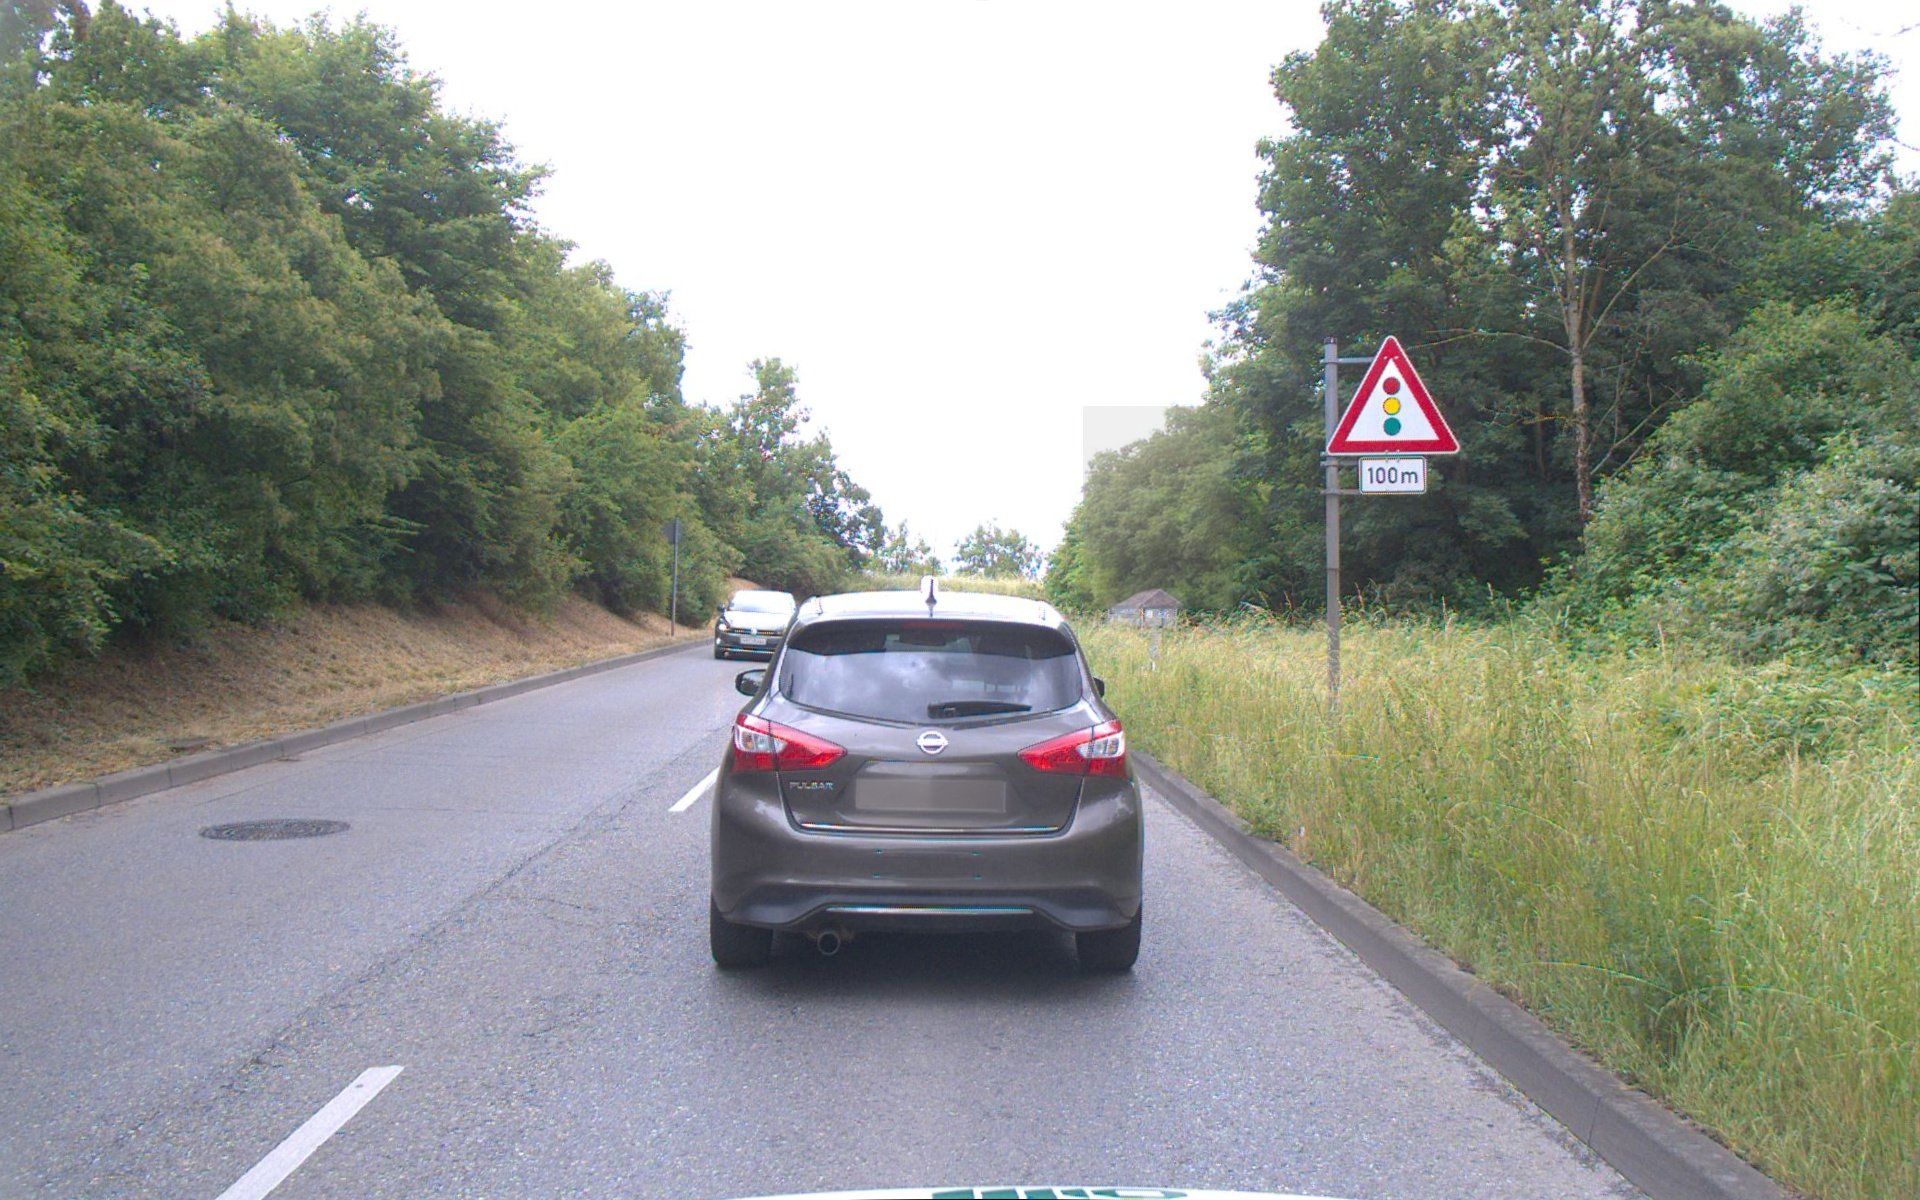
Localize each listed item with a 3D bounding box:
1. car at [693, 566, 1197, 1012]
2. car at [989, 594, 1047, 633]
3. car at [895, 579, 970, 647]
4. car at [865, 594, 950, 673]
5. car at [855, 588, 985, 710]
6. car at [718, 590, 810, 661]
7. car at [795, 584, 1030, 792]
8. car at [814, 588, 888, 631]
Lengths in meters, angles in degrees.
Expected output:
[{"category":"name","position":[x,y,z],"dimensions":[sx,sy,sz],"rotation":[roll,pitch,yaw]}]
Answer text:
[{"category":"car","position":[-0.118,0.674,7.670],"dimensions":[1.793,1.583,3.497],"rotation":[1,0,-2]},{"category":"car","position":[2.420,0.546,68.045],"dimensions":[1.699,1.553,3.546],"rotation":[0,0,14]},{"category":"car","position":[-0.782,0.369,49.541],"dimensions":[1.699,1.968,3.546],"rotation":[0,0,9]},{"category":"car","position":[-1.064,0.659,34.746],"dimensions":[1.700,1.583,3.543],"rotation":[0,0,-1]},{"category":"car","position":[-0.534,0.636,23.337],"dimensions":[1.700,1.583,3.543],"rotation":[0,0,-1]},{"category":"car","position":[-4.154,0.510,35.494],"dimensions":[1.609,1.425,3.820],"rotation":[1,0,-1]},{"category":"car","position":[-0.377,0.664,14.456],"dimensions":[1.793,1.583,3.624],"rotation":[0,0,-1]},{"category":"car","position":[-4.046,0.368,61.966],"dimensions":[1.607,1.424,3.824],"rotation":[4,0,14]}]
